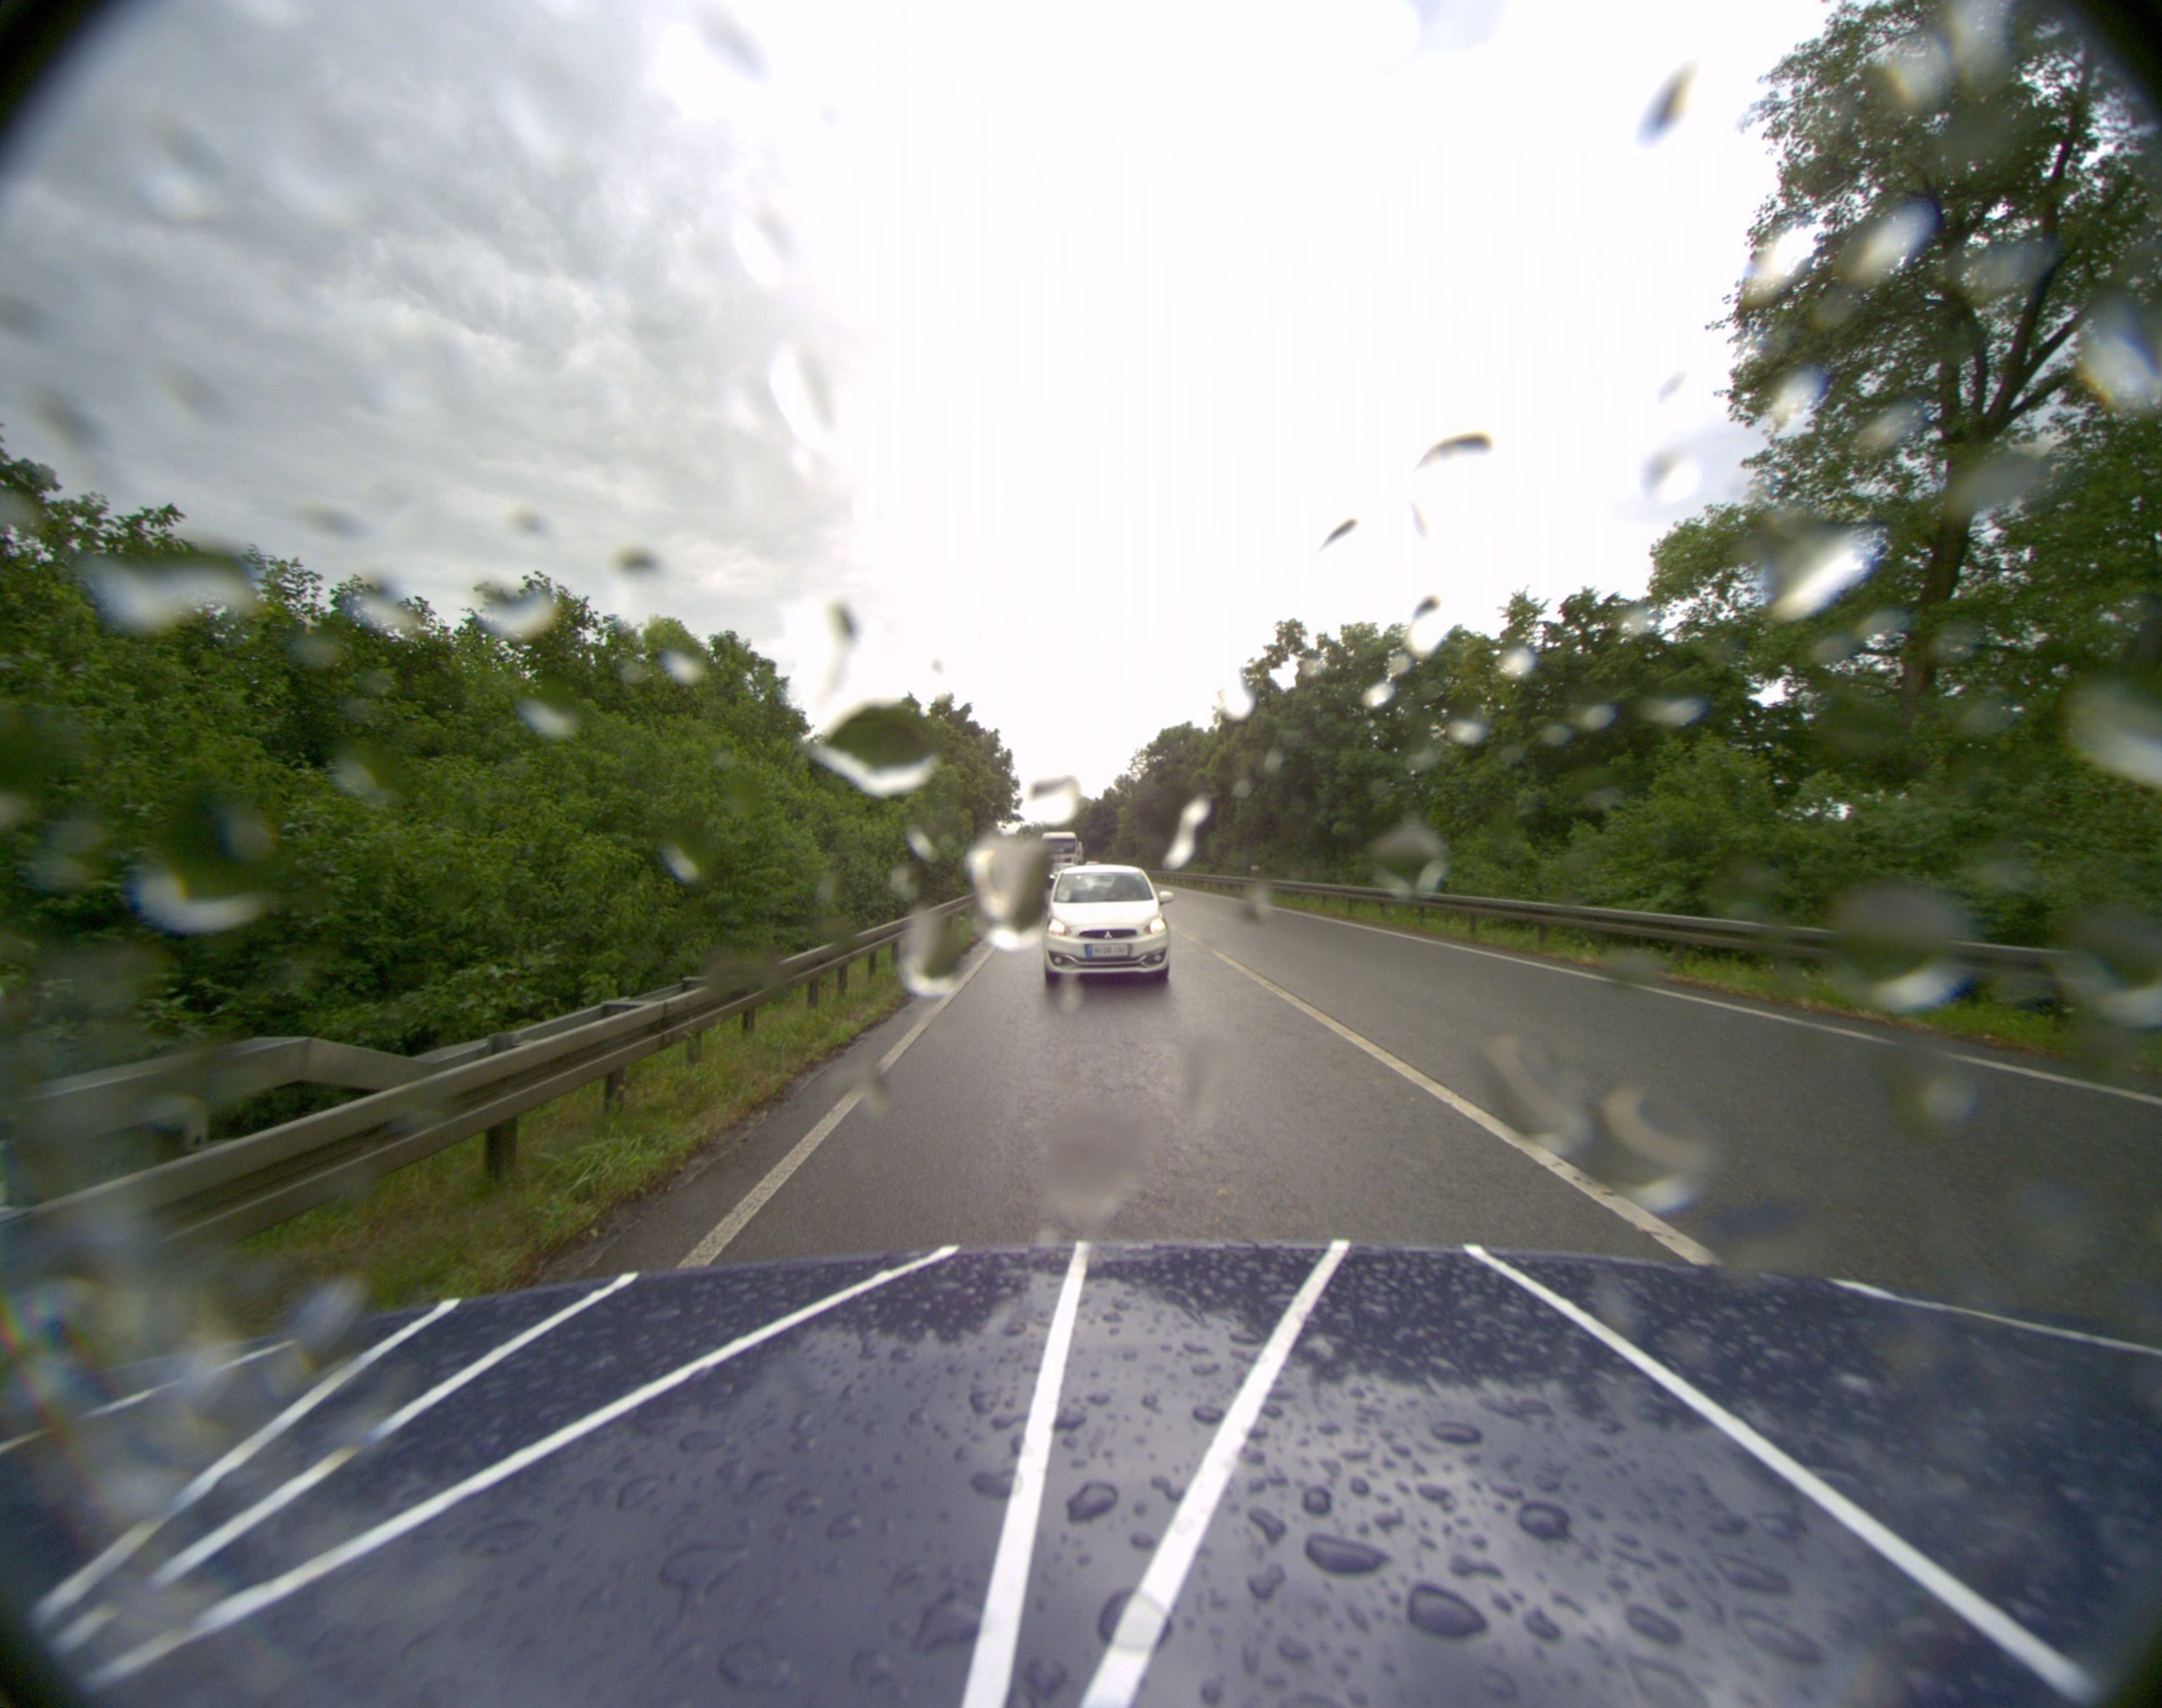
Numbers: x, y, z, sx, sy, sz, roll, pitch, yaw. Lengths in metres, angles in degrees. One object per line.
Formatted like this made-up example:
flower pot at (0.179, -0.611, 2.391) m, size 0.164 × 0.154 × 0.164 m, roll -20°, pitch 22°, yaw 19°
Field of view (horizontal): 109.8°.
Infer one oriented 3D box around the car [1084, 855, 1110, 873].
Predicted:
car at (1.405, 0.884, 68.135) m, size 1.820 × 1.445 × 4.045 m, roll -2°, pitch 0°, yaw -6°

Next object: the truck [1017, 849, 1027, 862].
truck at (-13.584, 0.335, 174.272) m, size 1.481 × 2.860 × 5.680 m, roll -2°, pitch 0°, yaw -11°

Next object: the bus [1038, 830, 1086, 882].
bus at (-1.688, 0.181, 58.027) m, size 3.064 × 3.405 × 13.636 m, roll -2°, pitch 0°, yaw -4°

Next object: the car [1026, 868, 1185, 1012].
car at (0.311, 0.980, 10.339) m, size 1.700 × 1.471 × 4.063 m, roll -2°, pitch 0°, yaw 1°

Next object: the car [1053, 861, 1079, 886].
car at (-0.893, 1.126, 44.234) m, size 1.476 × 1.409 × 3.428 m, roll -1°, pitch -1°, yaw -2°

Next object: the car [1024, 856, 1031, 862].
car at (-10.923, 1.030, 155.930) m, size 1.146 × 1.123 × 2.550 m, roll -2°, pitch 0°, yaw -11°

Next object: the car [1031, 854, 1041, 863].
car at (-8.588, 0.833, 143.870) m, size 1.421 × 1.610 × 3.476 m, roll -2°, pitch 0°, yaw -11°

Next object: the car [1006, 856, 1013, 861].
car at (-18.896, 1.226, 201.201) m, size 1.535 × 1.459 × 3.072 m, roll -2°, pitch 0°, yaw -10°
